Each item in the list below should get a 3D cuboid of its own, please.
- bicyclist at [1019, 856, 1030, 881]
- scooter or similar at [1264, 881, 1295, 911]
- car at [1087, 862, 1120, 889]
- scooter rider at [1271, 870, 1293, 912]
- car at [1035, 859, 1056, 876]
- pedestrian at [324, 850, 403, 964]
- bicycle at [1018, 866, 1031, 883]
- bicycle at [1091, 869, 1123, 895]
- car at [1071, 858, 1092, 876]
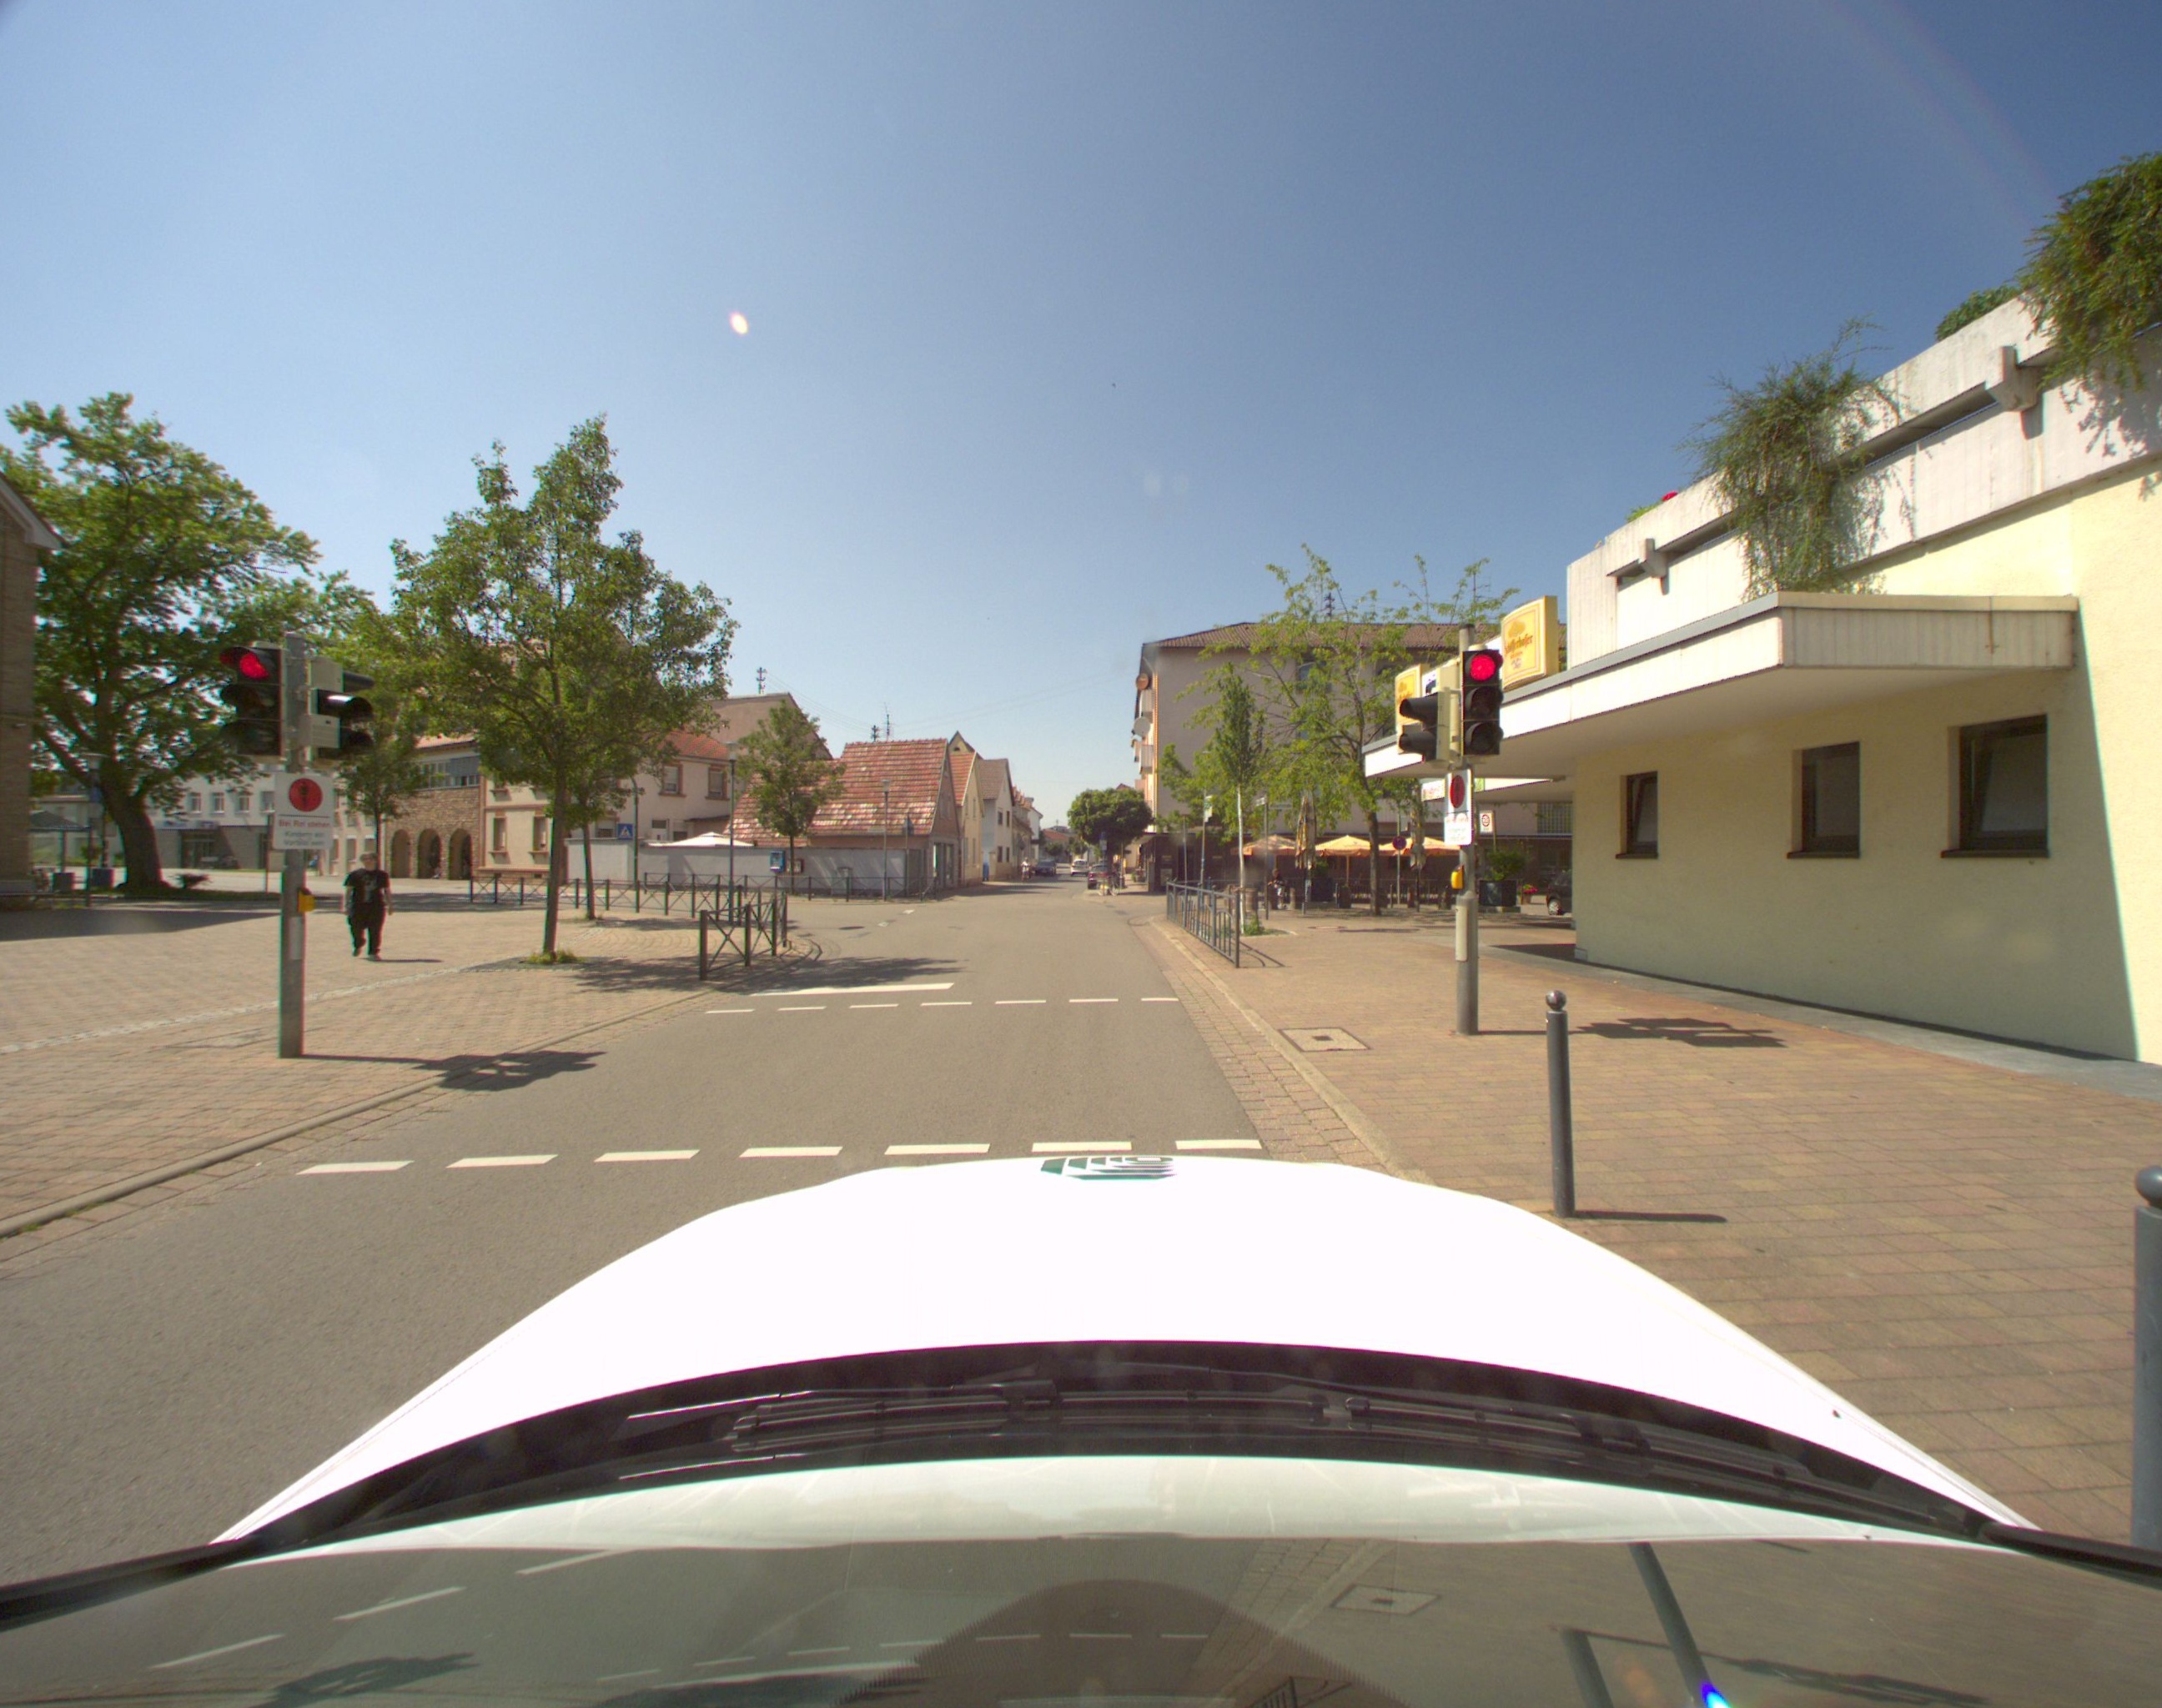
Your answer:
[{"bbox_3d":[-3.836,0.975,55.723,0.666,1.691,0.762,-1,-1,1],"label":"bicyclist"},{"bbox_3d":[6.052,1.281,24.828,0.892,0.873,0.376,1,-1,-28],"label":"scooter or similar"},{"bbox_3d":[1.349,1.222,47.498,1.797,1.501,4.003,0,0,3],"label":"car"},{"bbox_3d":[6.131,1.119,24.839,0.419,1.286,0.513,1,-1,-29],"label":"scooter rider"},{"bbox_3d":[-3.379,1.279,78.443,1.707,1.517,3.789,0,-1,3],"label":"car"},{"bbox_3d":[-10.849,0.774,12.343,0.818,1.655,0.841,2,-2,-40],"label":"pedestrian"},{"bbox_3d":[-3.836,1.411,55.717,0.671,1.094,1.896,-1,-1,2],"label":"bicycle"},{"bbox_3d":[1.237,1.303,38.720,0.530,1.193,1.655,1,-1,-42],"label":"bicycle"},{"bbox_3d":[0.078,1.206,77.528,1.826,1.652,4.002,0,-1,2],"label":"car"}]
